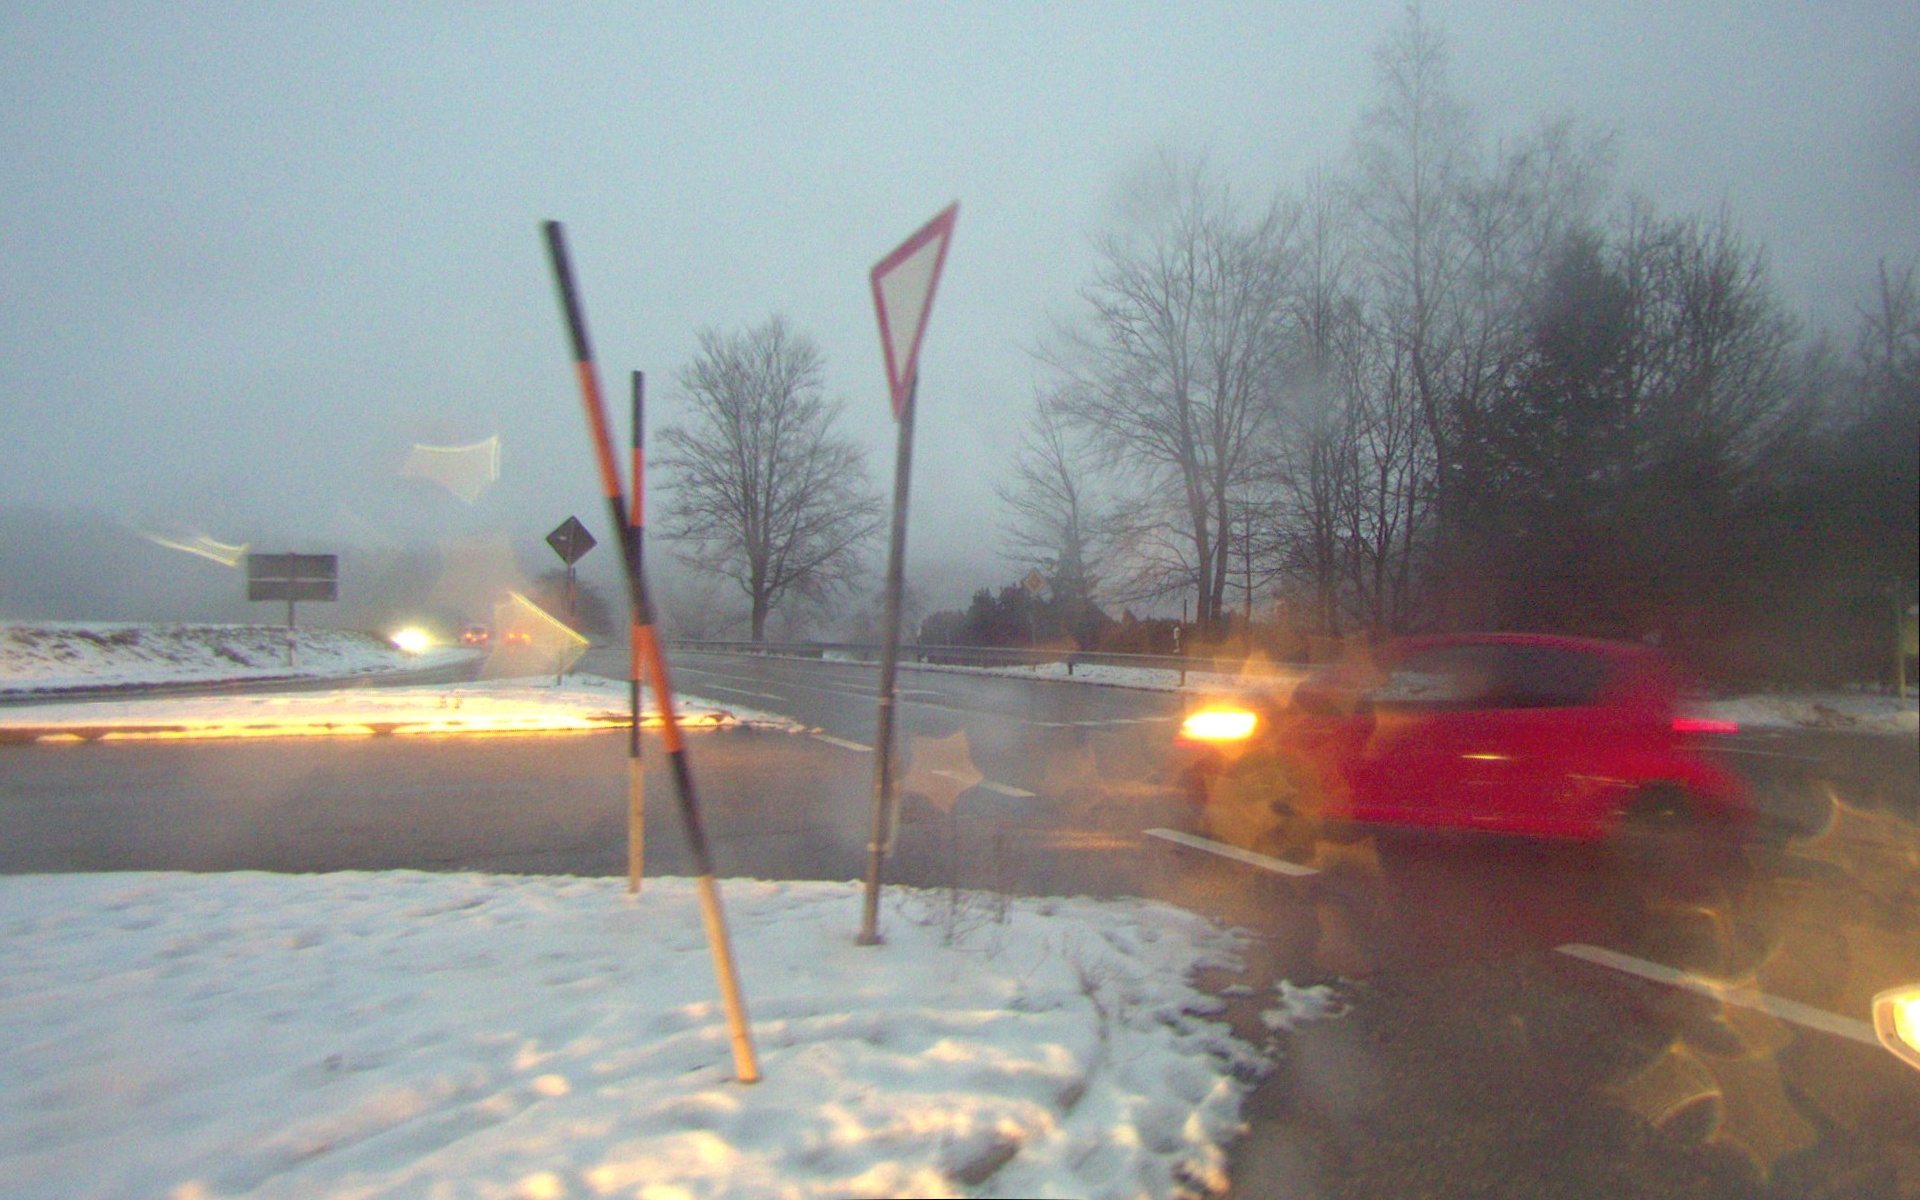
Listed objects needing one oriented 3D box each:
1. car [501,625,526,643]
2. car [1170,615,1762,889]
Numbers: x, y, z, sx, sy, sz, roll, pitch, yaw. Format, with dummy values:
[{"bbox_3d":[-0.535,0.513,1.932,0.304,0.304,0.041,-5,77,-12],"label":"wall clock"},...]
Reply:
[{"bbox_3d":[-41.056,3.138,92.348,1.678,1.572,3.824,3,-2,-30],"label":"car"},{"bbox_3d":[3.326,0.901,7.136,3.346,1.472,1.577,2,0,22],"label":"car"}]
